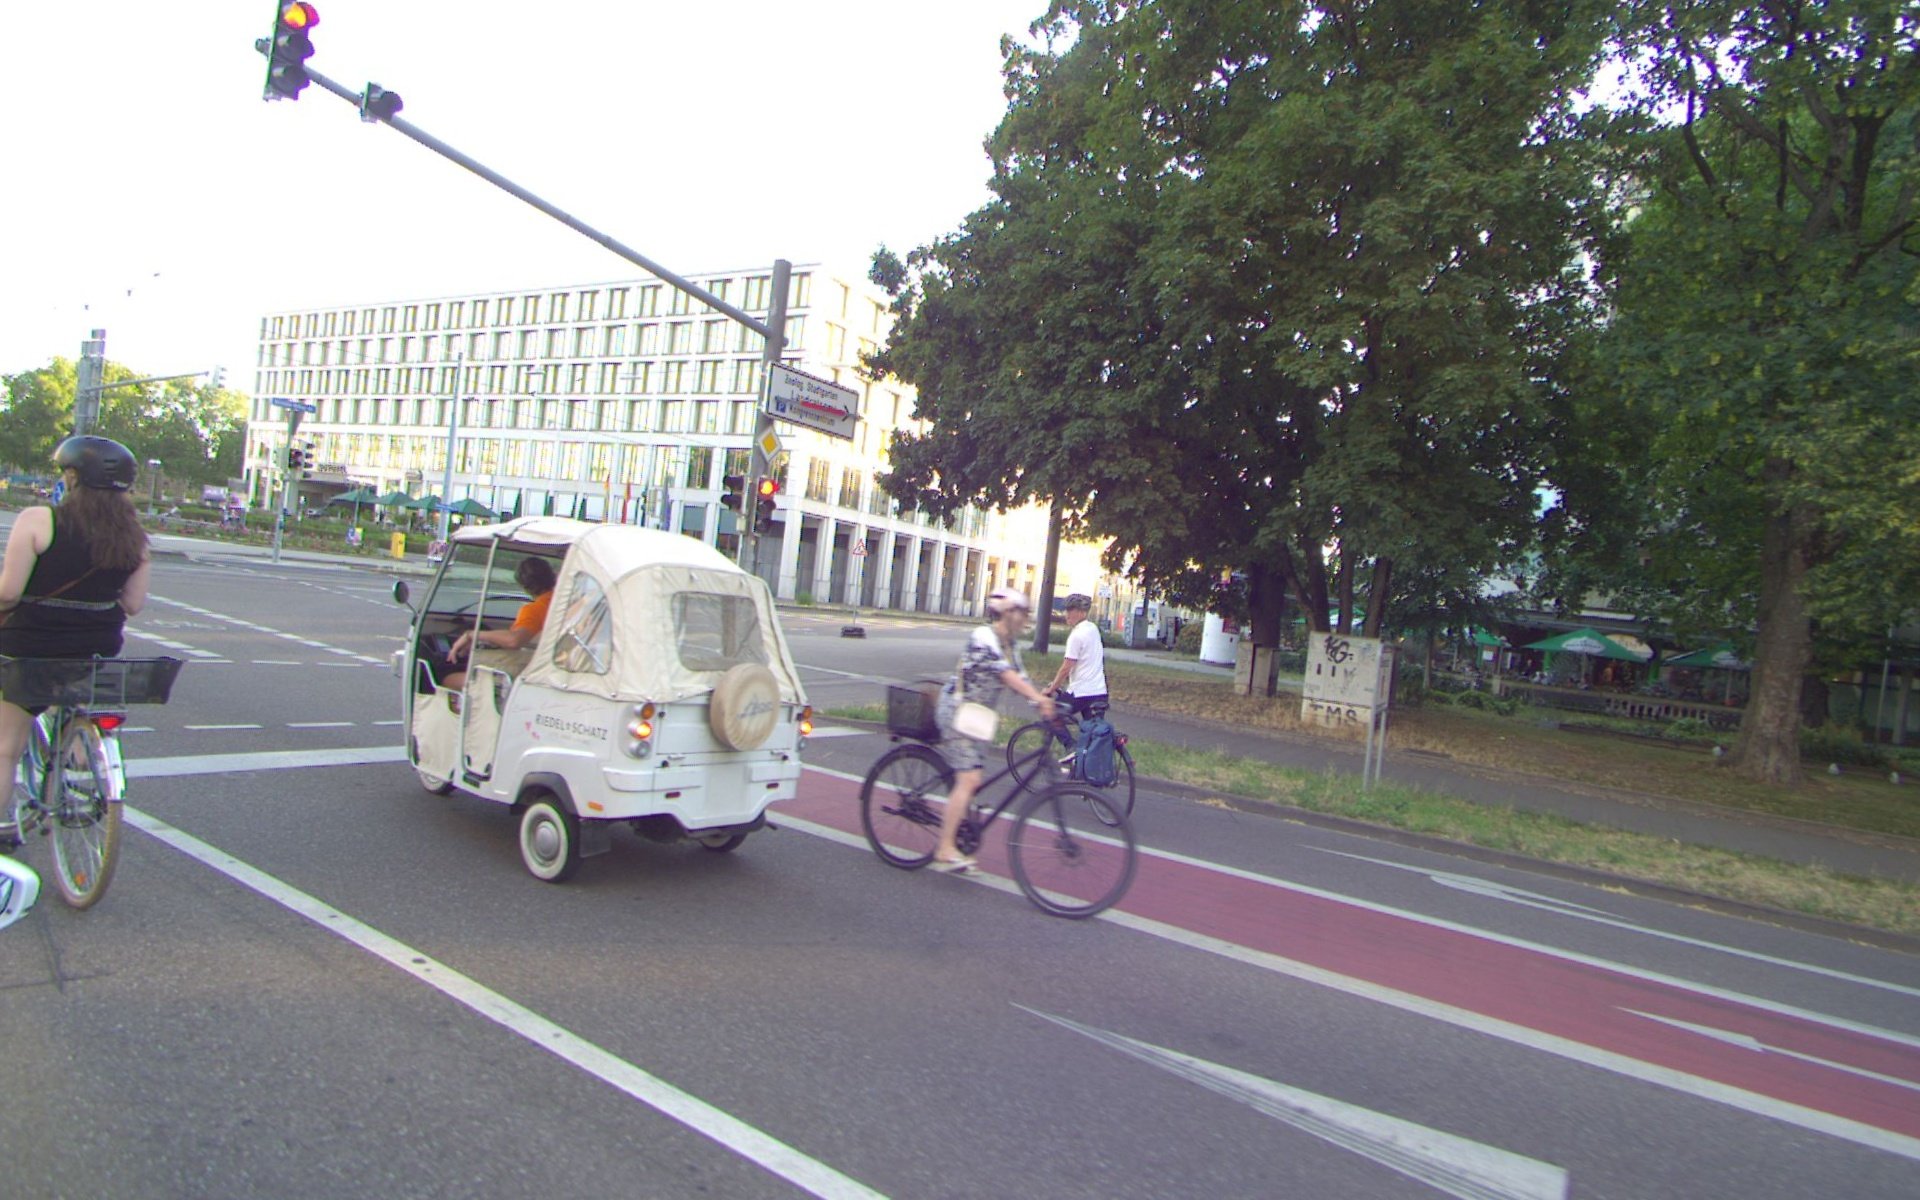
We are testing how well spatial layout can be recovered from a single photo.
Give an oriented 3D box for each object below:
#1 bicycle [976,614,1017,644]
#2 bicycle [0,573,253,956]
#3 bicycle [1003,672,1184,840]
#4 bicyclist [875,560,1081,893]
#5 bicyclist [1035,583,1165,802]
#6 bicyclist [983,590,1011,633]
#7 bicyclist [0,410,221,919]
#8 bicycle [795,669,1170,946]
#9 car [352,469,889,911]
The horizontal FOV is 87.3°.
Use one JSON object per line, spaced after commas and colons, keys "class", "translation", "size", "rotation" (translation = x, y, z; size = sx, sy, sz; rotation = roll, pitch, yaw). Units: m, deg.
{"class": "bicycle", "translation": [1.565, 1.241, 42.970], "size": [0.719, 1.082, 1.898], "rotation": [7, -1, 35]}
{"class": "bicycle", "translation": [-3.678, 0.508, 3.959], "size": [2.035, 1.082, 0.638], "rotation": [7, 0, 32]}
{"class": "bicycle", "translation": [1.076, 1.276, 8.663], "size": [0.720, 1.081, 1.897], "rotation": [8, -1, -16]}
{"class": "bicyclist", "translation": [0.109, 0.683, 5.797], "size": [0.737, 1.714, 0.712], "rotation": [7, 1, 37]}
{"class": "bicyclist", "translation": [1.168, 0.754, 8.541], "size": [0.752, 1.714, 0.747], "rotation": [6, 1, -7]}
{"class": "bicyclist", "translation": [1.583, 0.493, 42.847], "size": [0.704, 1.714, 0.746], "rotation": [7, 1, 35]}
{"class": "bicyclist", "translation": [-3.383, 0.213, 3.780], "size": [0.736, 1.714, 0.628], "rotation": [7, 1, 31]}
{"class": "bicycle", "translation": [0.072, 1.076, 5.747], "size": [1.991, 1.082, 0.728], "rotation": [7, 0, 37]}
{"class": "car", "translation": [-1.940, 0.357, 5.639], "size": [2.523, 1.803, 1.460], "rotation": [8, 1, 34]}
